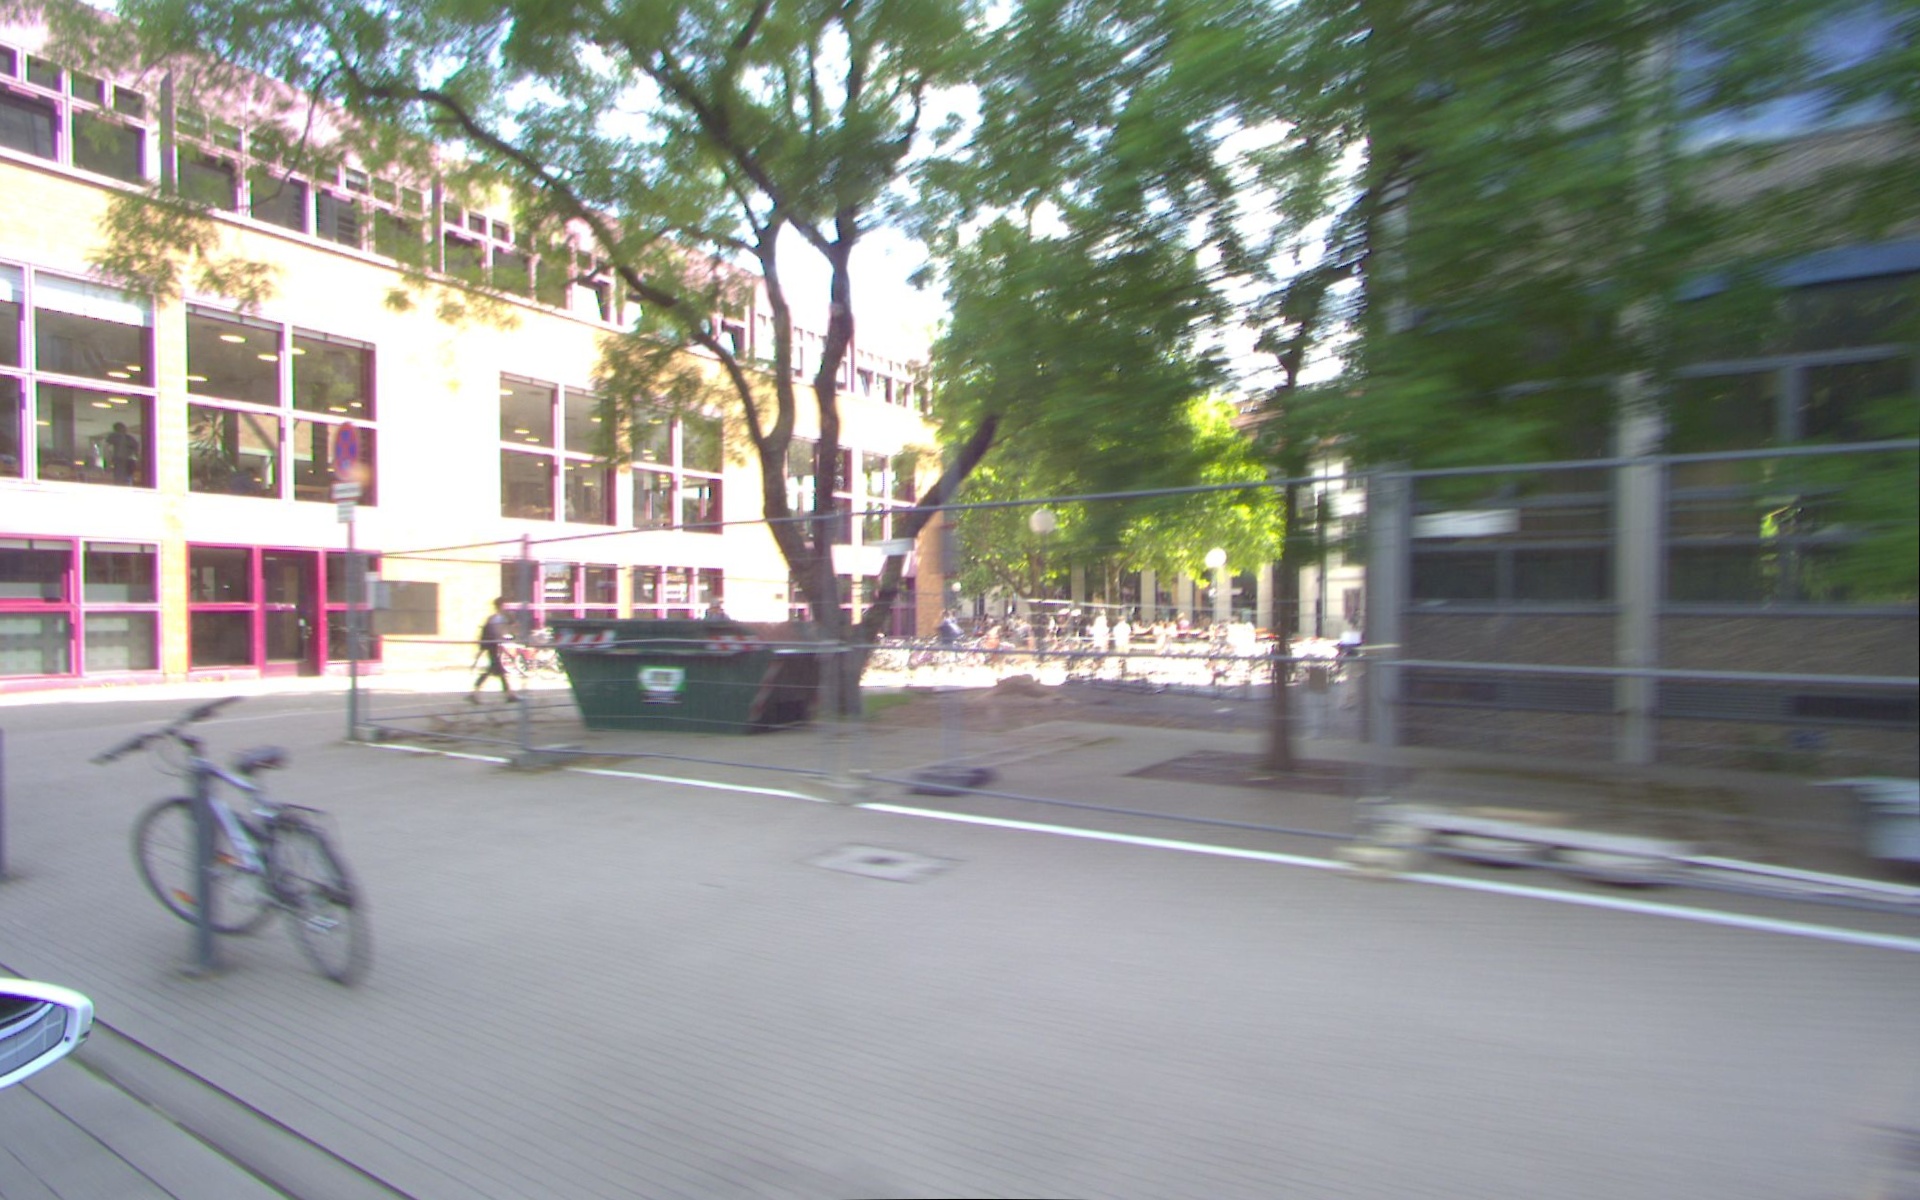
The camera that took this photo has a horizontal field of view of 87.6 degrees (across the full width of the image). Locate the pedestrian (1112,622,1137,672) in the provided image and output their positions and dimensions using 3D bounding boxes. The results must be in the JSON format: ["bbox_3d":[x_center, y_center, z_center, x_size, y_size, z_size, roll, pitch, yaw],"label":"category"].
[{"bbox_3d":[6.171,1.766,37.519,0.675,1.846,0.901,-1,-1,31],"label":"pedestrian"}]

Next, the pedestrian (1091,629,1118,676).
[{"bbox_3d":[5.455,1.963,37.771,0.674,1.750,0.901,1,-1,30],"label":"pedestrian"}]

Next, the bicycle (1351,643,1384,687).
[{"bbox_3d":[11.390,1.816,27.978,0.537,1.183,1.994,0,-3,31],"label":"bicycle"}]

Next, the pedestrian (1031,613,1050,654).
[{"bbox_3d":[3.722,1.561,46.481,0.672,1.845,0.904,-2,-2,17],"label":"pedestrian"}]

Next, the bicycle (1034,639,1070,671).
[{"bbox_3d":[3.528,2.117,38.402,0.537,1.183,1.994,0,-3,31],"label":"bicycle"}]

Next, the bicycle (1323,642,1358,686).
[{"bbox_3d":[10.691,1.806,28.106,0.537,1.183,1.994,0,-3,31],"label":"bicycle"}]

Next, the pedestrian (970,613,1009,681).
[{"bbox_3d":[0.771,1.226,26.067,0.674,1.750,0.901,-2,-2,28],"label":"pedestrian"}]

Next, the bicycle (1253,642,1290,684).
[{"bbox_3d":[9.114,1.856,29.238,0.537,1.183,1.994,0,-3,31],"label":"bicycle"}]

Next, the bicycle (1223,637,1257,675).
[{"bbox_3d":[9.249,1.856,33.025,0.537,1.183,1.994,0,-3,31],"label":"bicycle"}]

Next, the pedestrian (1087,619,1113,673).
[{"bbox_3d":[4.609,1.522,32.943,0.673,1.750,0.903,-2,-2,19],"label":"pedestrian"}]

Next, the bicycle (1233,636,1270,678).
[{"bbox_3d":[8.603,1.706,29.518,0.537,1.183,1.994,0,-3,31],"label":"bicycle"}]

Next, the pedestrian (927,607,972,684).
[{"bbox_3d":[-0.247,1.073,23.597,0.674,1.750,0.901,-2,-2,28],"label":"pedestrian"}]

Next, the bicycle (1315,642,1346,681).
[{"bbox_3d":[11.793,1.977,31.848,0.537,1.183,1.994,0,-3,31],"label":"bicycle"}]

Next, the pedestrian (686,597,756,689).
[{"bbox_3d":[-4.465,0.808,18.723,0.695,1.672,1.040,-1,-3,40],"label":"pedestrian"}]

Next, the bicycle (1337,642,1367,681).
[{"bbox_3d":[12.344,1.944,31.498,0.537,1.183,1.994,0,-3,31],"label":"bicycle"}]

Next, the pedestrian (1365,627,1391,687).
[{"bbox_3d":[11.659,1.582,27.913,0.555,1.633,0.530,0,-2,33],"label":"pedestrian"}]

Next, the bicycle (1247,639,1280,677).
[{"bbox_3d":[9.926,1.902,32.706,0.537,1.183,1.994,0,-3,31],"label":"bicycle"}]

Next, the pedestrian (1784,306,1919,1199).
[{"bbox_3d":[2.040,0.472,1.418,1.096,1.868,0.786,1,-2,8],"label":"pedestrian"}]

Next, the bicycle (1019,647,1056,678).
[{"bbox_3d":[3.007,2.435,38.780,0.537,1.183,1.994,0,-3,31],"label":"bicycle"}]

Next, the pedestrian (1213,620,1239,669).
[{"bbox_3d":[9.782,1.644,36.825,0.674,1.750,0.901,-2,-2,28],"label":"pedestrian"}]

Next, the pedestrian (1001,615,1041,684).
[{"bbox_3d":[1.568,1.270,25.714,0.674,1.750,0.901,-2,-2,28],"label":"pedestrian"}]

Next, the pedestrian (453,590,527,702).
[{"bbox_3d":[-7.271,0.713,15.504,0.581,1.672,0.849,-1,-3,40],"label":"pedestrian"}]

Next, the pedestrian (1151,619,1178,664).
[{"bbox_3d":[8.513,1.727,41.687,0.673,1.845,0.903,0,-2,-22],"label":"pedestrian"}]

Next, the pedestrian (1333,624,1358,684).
[{"bbox_3d":[10.824,1.514,28.119,0.525,1.651,0.560,0,-2,33],"label":"pedestrian"}]

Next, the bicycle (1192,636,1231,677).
[{"bbox_3d":[7.606,1.733,30.248,0.537,1.183,1.994,0,-3,31],"label":"bicycle"}]

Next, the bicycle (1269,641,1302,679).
[{"bbox_3d":[10.547,1.958,32.398,0.537,1.183,1.994,0,-3,31],"label":"bicycle"}]

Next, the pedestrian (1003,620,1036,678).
[{"bbox_3d":[1.831,1.505,30.872,0.674,1.750,0.901,-2,-2,28],"label":"pedestrian"}]

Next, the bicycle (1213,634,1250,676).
[{"bbox_3d":[8.121,1.654,29.905,0.537,1.183,1.994,0,-3,31],"label":"bicycle"}]

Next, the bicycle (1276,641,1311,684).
[{"bbox_3d":[9.665,1.821,28.980,0.537,1.183,1.994,0,-3,31],"label":"bicycle"}]

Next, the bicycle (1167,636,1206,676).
[{"bbox_3d":[6.917,1.718,30.570,0.537,1.183,1.994,0,-3,31],"label":"bicycle"}]

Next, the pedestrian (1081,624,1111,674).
[{"bbox_3d":[4.816,1.736,35.445,0.676,1.750,0.899,-2,-2,35],"label":"pedestrian"}]

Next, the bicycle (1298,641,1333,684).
[{"bbox_3d":[10.189,1.793,28.668,0.537,1.183,1.994,0,-3,31],"label":"bicycle"}]

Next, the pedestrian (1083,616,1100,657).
[{"bbox_3d":[5.981,1.651,45.540,0.672,1.845,0.905,-1,-2,11],"label":"pedestrian"}]

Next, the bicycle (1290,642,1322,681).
[{"bbox_3d":[11.065,1.970,32.025,0.537,1.183,1.994,0,-3,31],"label":"bicycle"}]
